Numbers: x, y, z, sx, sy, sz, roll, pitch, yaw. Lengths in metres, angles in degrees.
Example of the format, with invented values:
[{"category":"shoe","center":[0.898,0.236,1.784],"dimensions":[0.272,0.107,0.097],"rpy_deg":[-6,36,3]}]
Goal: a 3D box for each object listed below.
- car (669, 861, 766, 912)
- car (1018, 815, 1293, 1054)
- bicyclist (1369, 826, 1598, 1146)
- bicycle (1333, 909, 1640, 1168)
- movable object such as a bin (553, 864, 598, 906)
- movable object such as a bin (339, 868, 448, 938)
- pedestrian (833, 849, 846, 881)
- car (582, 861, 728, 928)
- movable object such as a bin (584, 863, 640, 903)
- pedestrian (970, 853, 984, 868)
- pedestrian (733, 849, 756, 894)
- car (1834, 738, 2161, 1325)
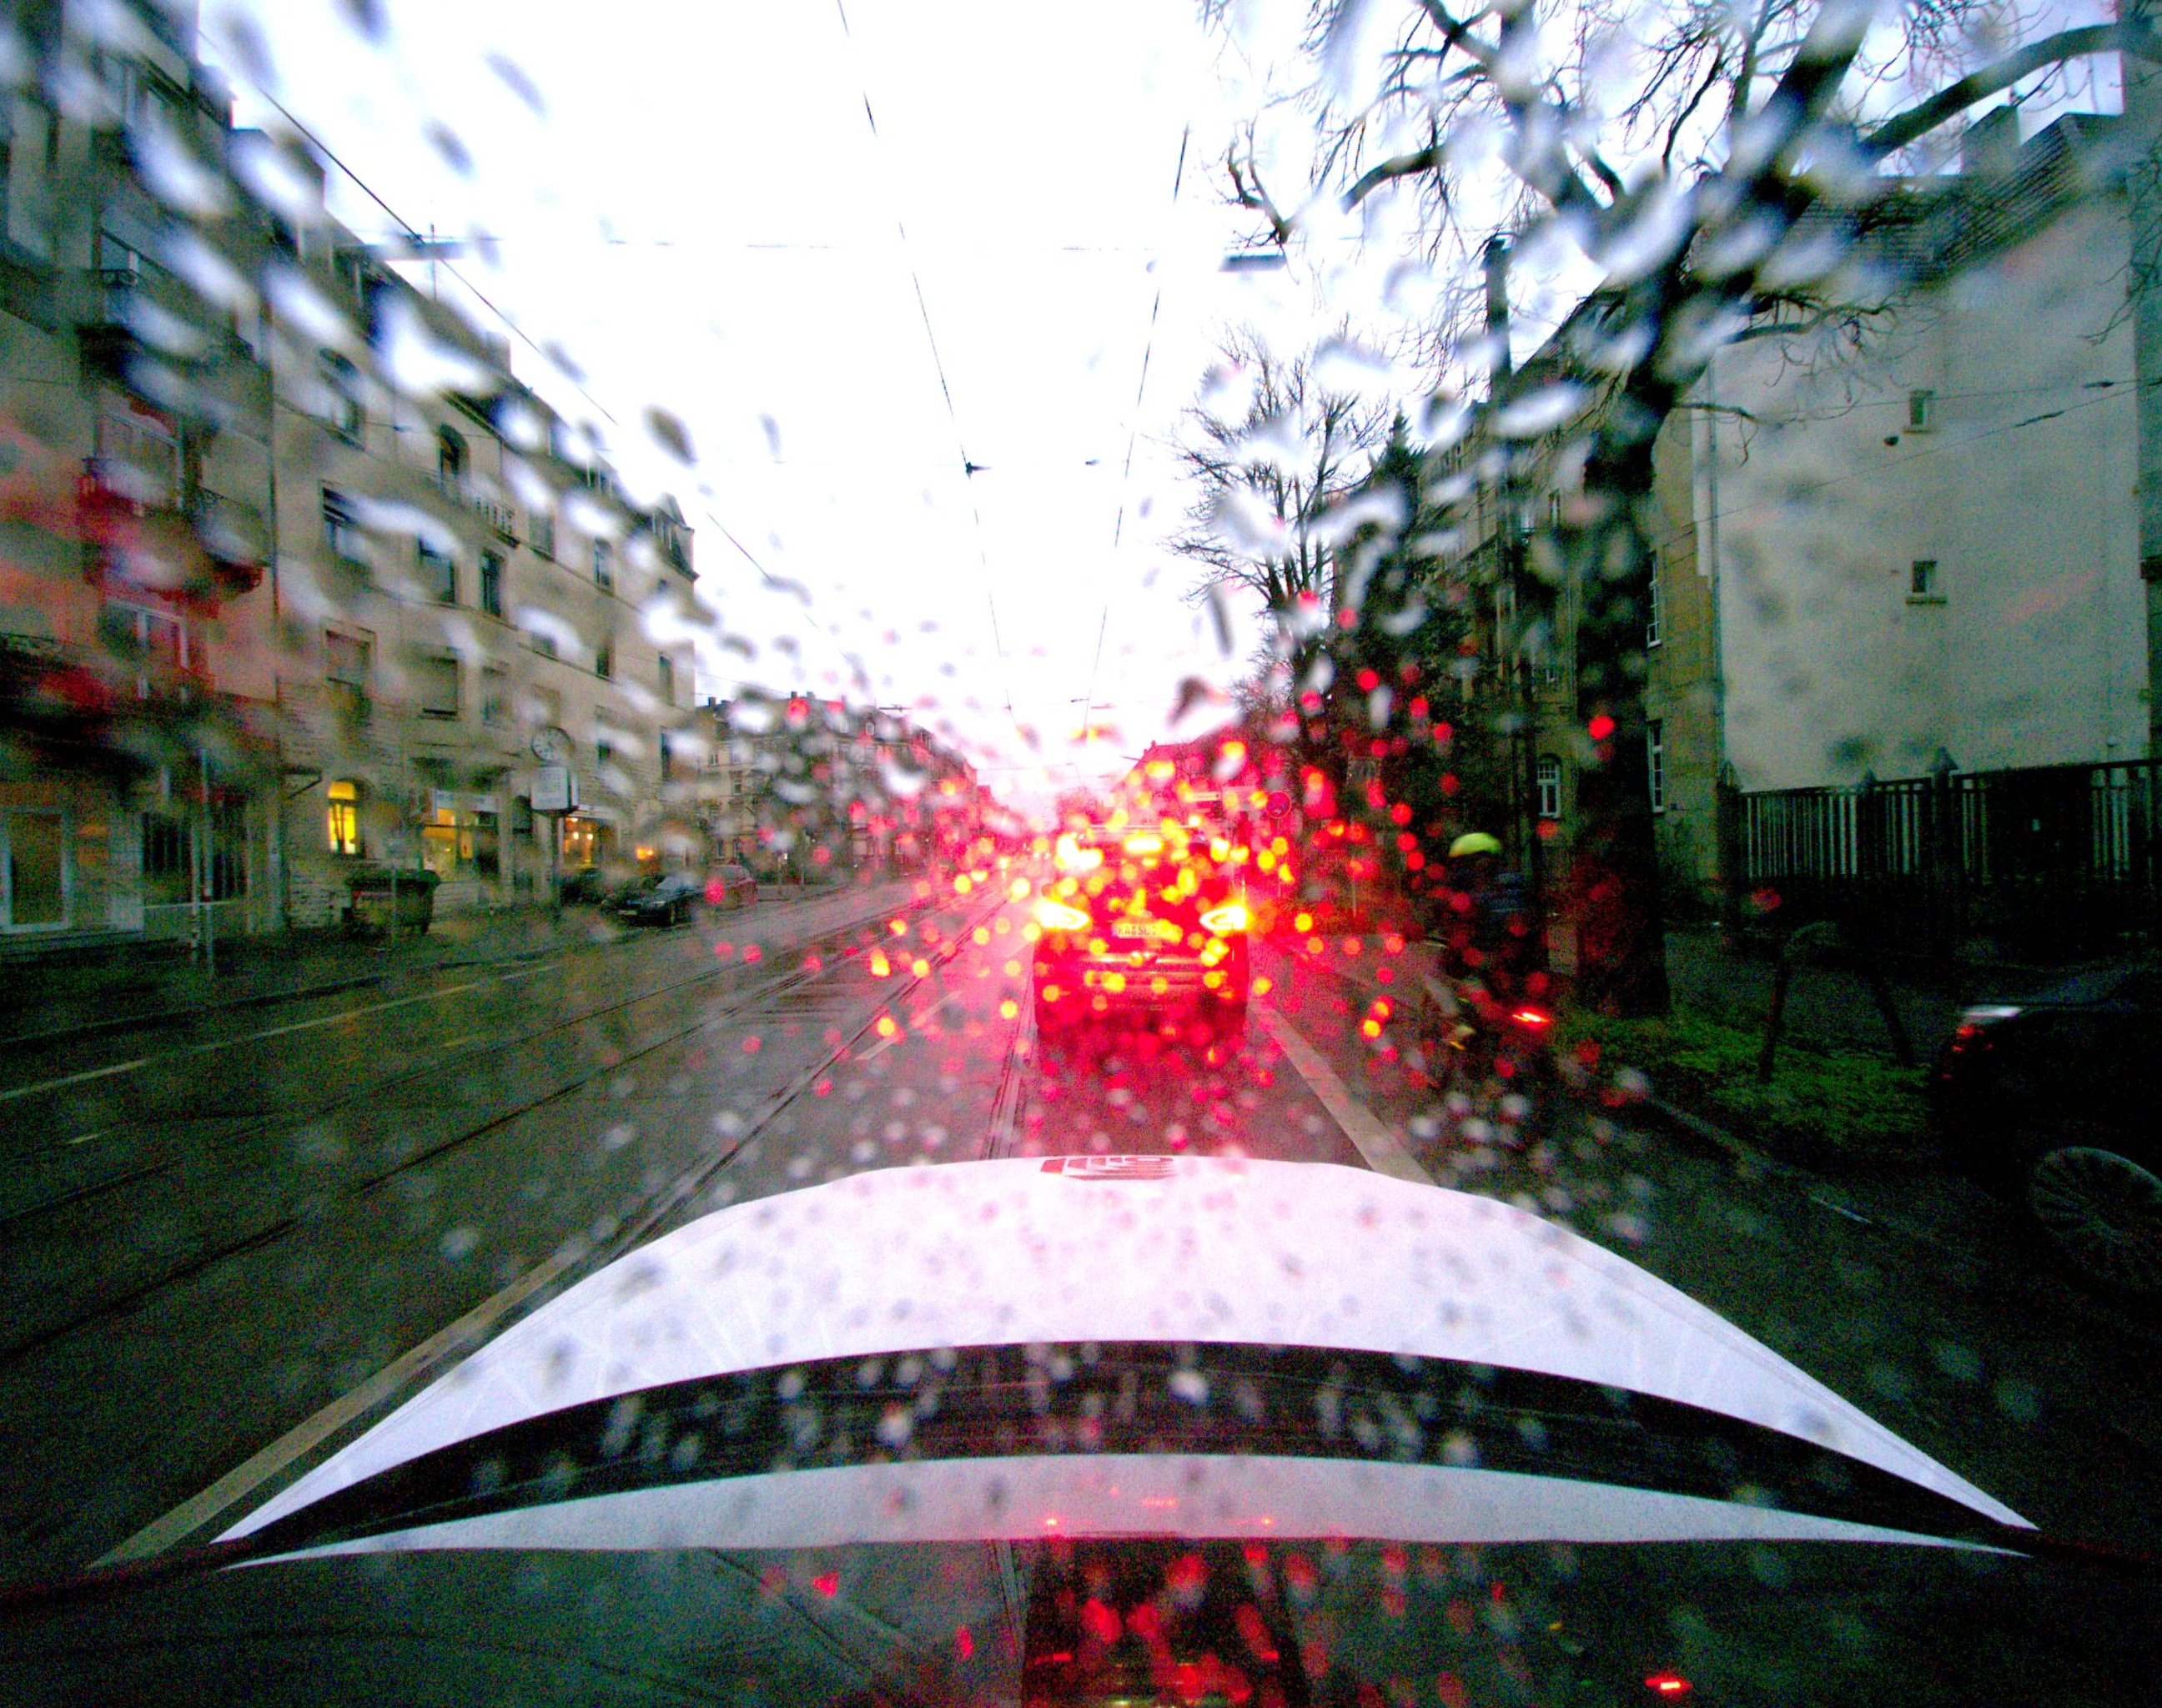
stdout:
[{"category":"car","center":[-13.071,1.124,29.586],"dimensions":[2.035,1.551,4.023],"rpy_deg":[2,0,-6]},{"category":"car","center":[0.607,0.609,8.572],"dimensions":[2.096,1.816,4.661],"rpy_deg":[0,0,1]},{"category":"bicyclist","center":[2.305,0.695,4.798],"dimensions":[0.716,1.662,1.054],"rpy_deg":[2,0,-6]},{"category":"bicycle","center":[2.287,0.970,4.940],"dimensions":[0.716,1.112,1.938],"rpy_deg":[3,0,-6]},{"category":"movable object such as a bin","center":[-17.581,1.061,28.339],"dimensions":[0.896,1.377,1.006],"rpy_deg":[-1,0,-1]},{"category":"movable object such as a bin","center":[-14.881,1.040,17.673],"dimensions":[1.264,1.420,1.249],"rpy_deg":[-1,0,-1]},{"category":"pedestrian","center":[-15.321,0.720,51.749],"dimensions":[0.707,2.013,0.656],"rpy_deg":[-1,0,-21]},{"category":"car","center":[-12.233,1.098,23.792],"dimensions":[1.982,1.645,4.624],"rpy_deg":[3,-1,-4]},{"category":"movable object such as a bin","center":[-17.047,1.038,29.619],"dimensions":[1.290,1.367,1.251],"rpy_deg":[-1,0,-2]},{"category":"pedestrian","center":[-8.907,0.547,69.758],"dimensions":[1.044,1.200,0.885],"rpy_deg":[-1,-1,-1]},{"category":"pedestrian","center":[-15.175,0.780,36.719],"dimensions":[0.748,2.014,0.652],"rpy_deg":[-1,-1,34]},{"category":"car","center":[4.477,0.540,1.205],"dimensions":[2.025,1.875,4.960],"rpy_deg":[-2,0,-2]}]
